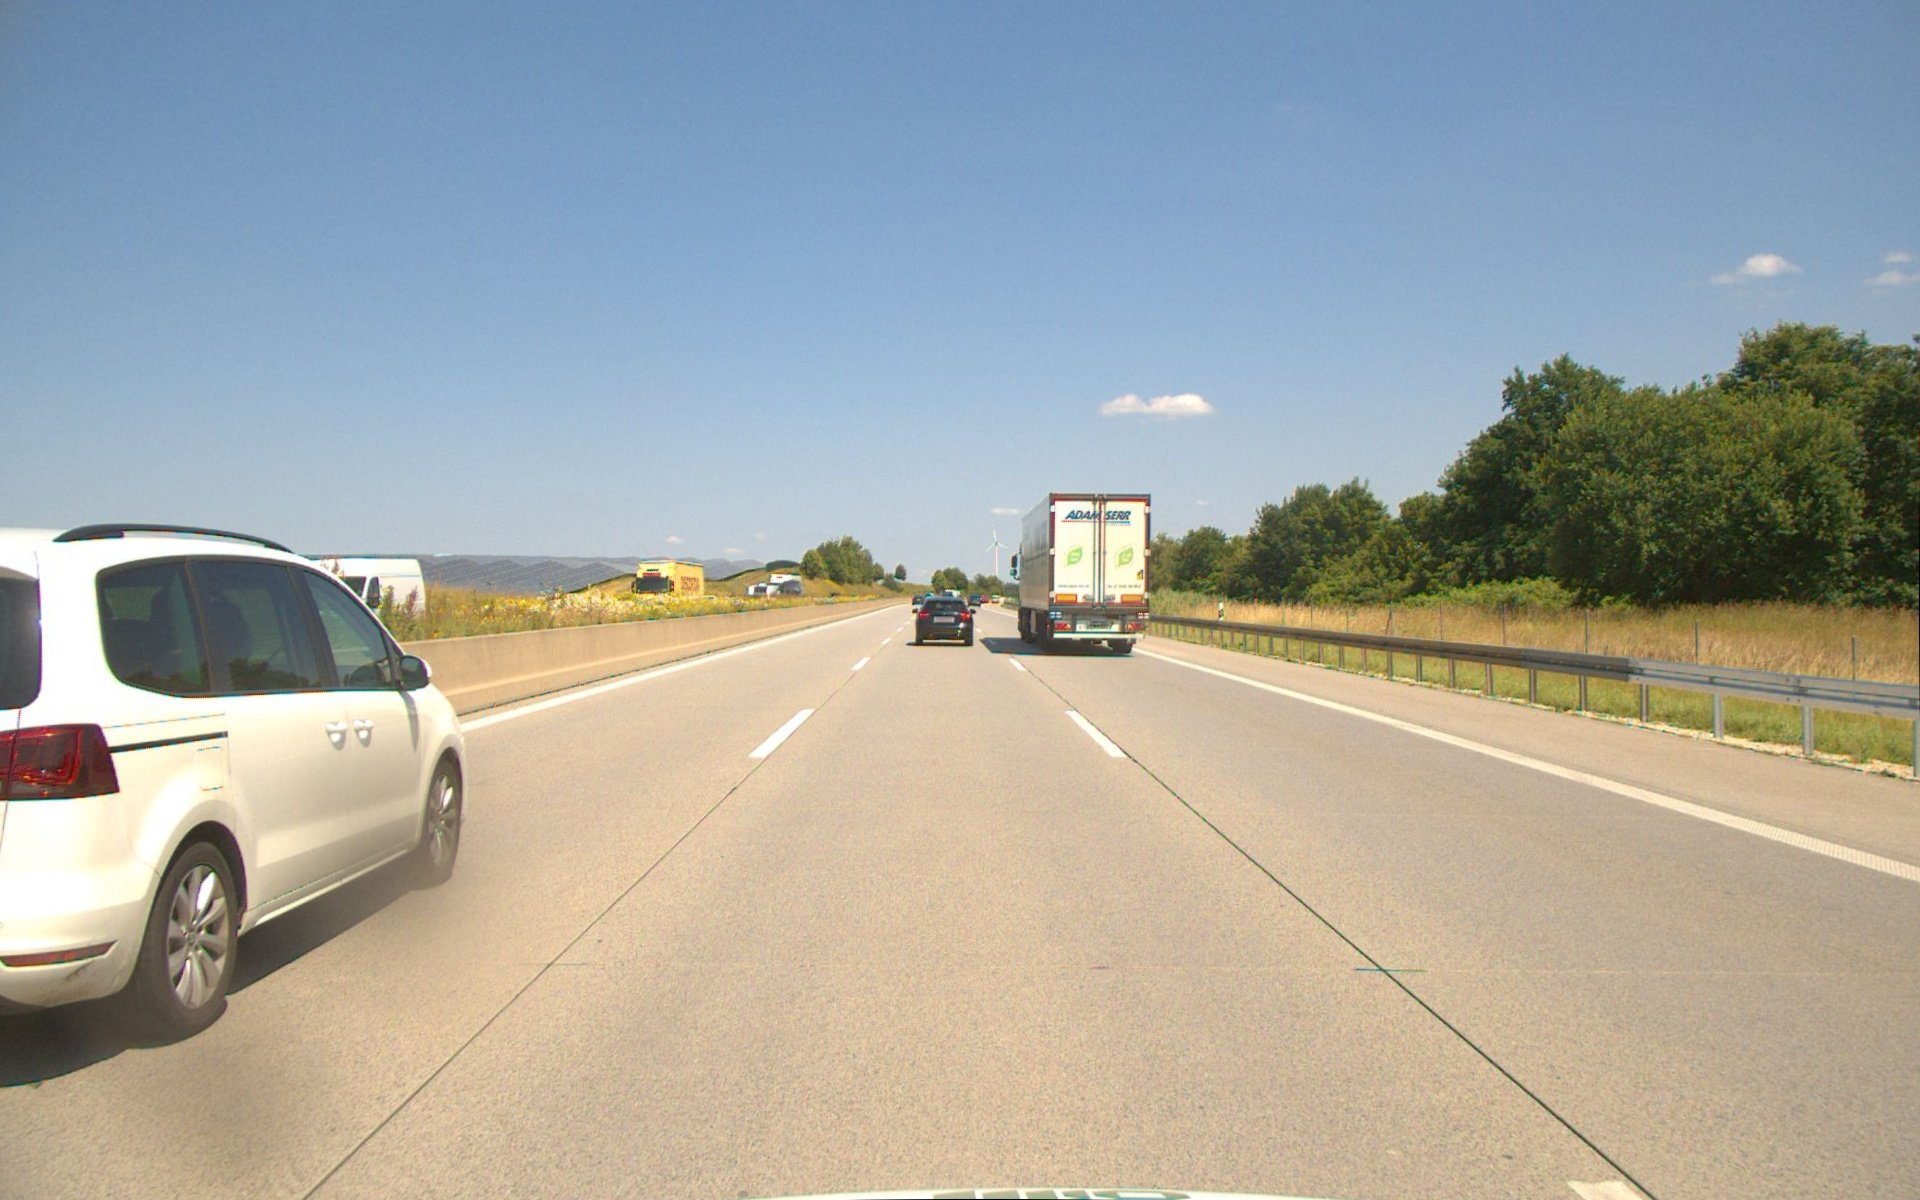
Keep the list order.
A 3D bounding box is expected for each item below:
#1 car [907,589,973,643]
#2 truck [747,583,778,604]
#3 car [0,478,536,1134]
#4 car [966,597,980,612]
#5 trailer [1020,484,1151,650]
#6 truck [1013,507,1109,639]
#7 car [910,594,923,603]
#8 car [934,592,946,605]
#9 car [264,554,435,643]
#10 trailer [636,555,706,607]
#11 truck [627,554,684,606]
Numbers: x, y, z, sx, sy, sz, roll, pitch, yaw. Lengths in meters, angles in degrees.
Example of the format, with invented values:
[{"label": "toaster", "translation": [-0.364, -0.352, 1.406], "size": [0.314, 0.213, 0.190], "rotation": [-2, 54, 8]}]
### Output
[{"label": "car", "translation": [-0.652, 0.453, 50.319], "size": [1.872, 1.518, 4.190], "rotation": [1, 0, -2]}, {"label": "truck", "translation": [-20.868, -0.643, 175.211], "size": [2.465, 2.049, 7.628], "rotation": [1, 0, -1]}, {"label": "car", "translation": [-3.469, 0.548, 7.044], "size": [1.808, 1.738, 6.035], "rotation": [1, 0, -1]}, {"label": "car", "translation": [1.710, 0.600, 223.412], "size": [1.790, 1.940, 3.999], "rotation": [1, 0, -1]}, {"label": "trailer", "translation": [3.380, -0.819, 47.711], "size": [2.794, 4.113, 12.712], "rotation": [1, 0, 0]}, {"label": "truck", "translation": [3.330, -0.866, 55.850], "size": [2.755, 4.159, 5.797], "rotation": [1, 0, -1]}, {"label": "car", "translation": [-6.141, -0.210, 233.288], "size": [1.622, 1.217, 3.959], "rotation": [3, 0, -1]}, {"label": "car", "translation": [-3.125, -0.288, 253.359], "size": [1.790, 1.971, 3.808], "rotation": [0, 0, -1]}, {"label": "car", "translation": [-15.407, -0.021, 42.186], "size": [2.139, 2.049, 6.346], "rotation": [1, 0, -2]}, {"label": "trailer", "translation": [-21.547, -1.334, 124.131], "size": [2.872, 3.613, 14.017], "rotation": [1, 0, 0]}, {"label": "truck", "translation": [-21.538, -1.372, 117.329], "size": [2.863, 3.602, 6.346], "rotation": [1, 0, -1]}]
